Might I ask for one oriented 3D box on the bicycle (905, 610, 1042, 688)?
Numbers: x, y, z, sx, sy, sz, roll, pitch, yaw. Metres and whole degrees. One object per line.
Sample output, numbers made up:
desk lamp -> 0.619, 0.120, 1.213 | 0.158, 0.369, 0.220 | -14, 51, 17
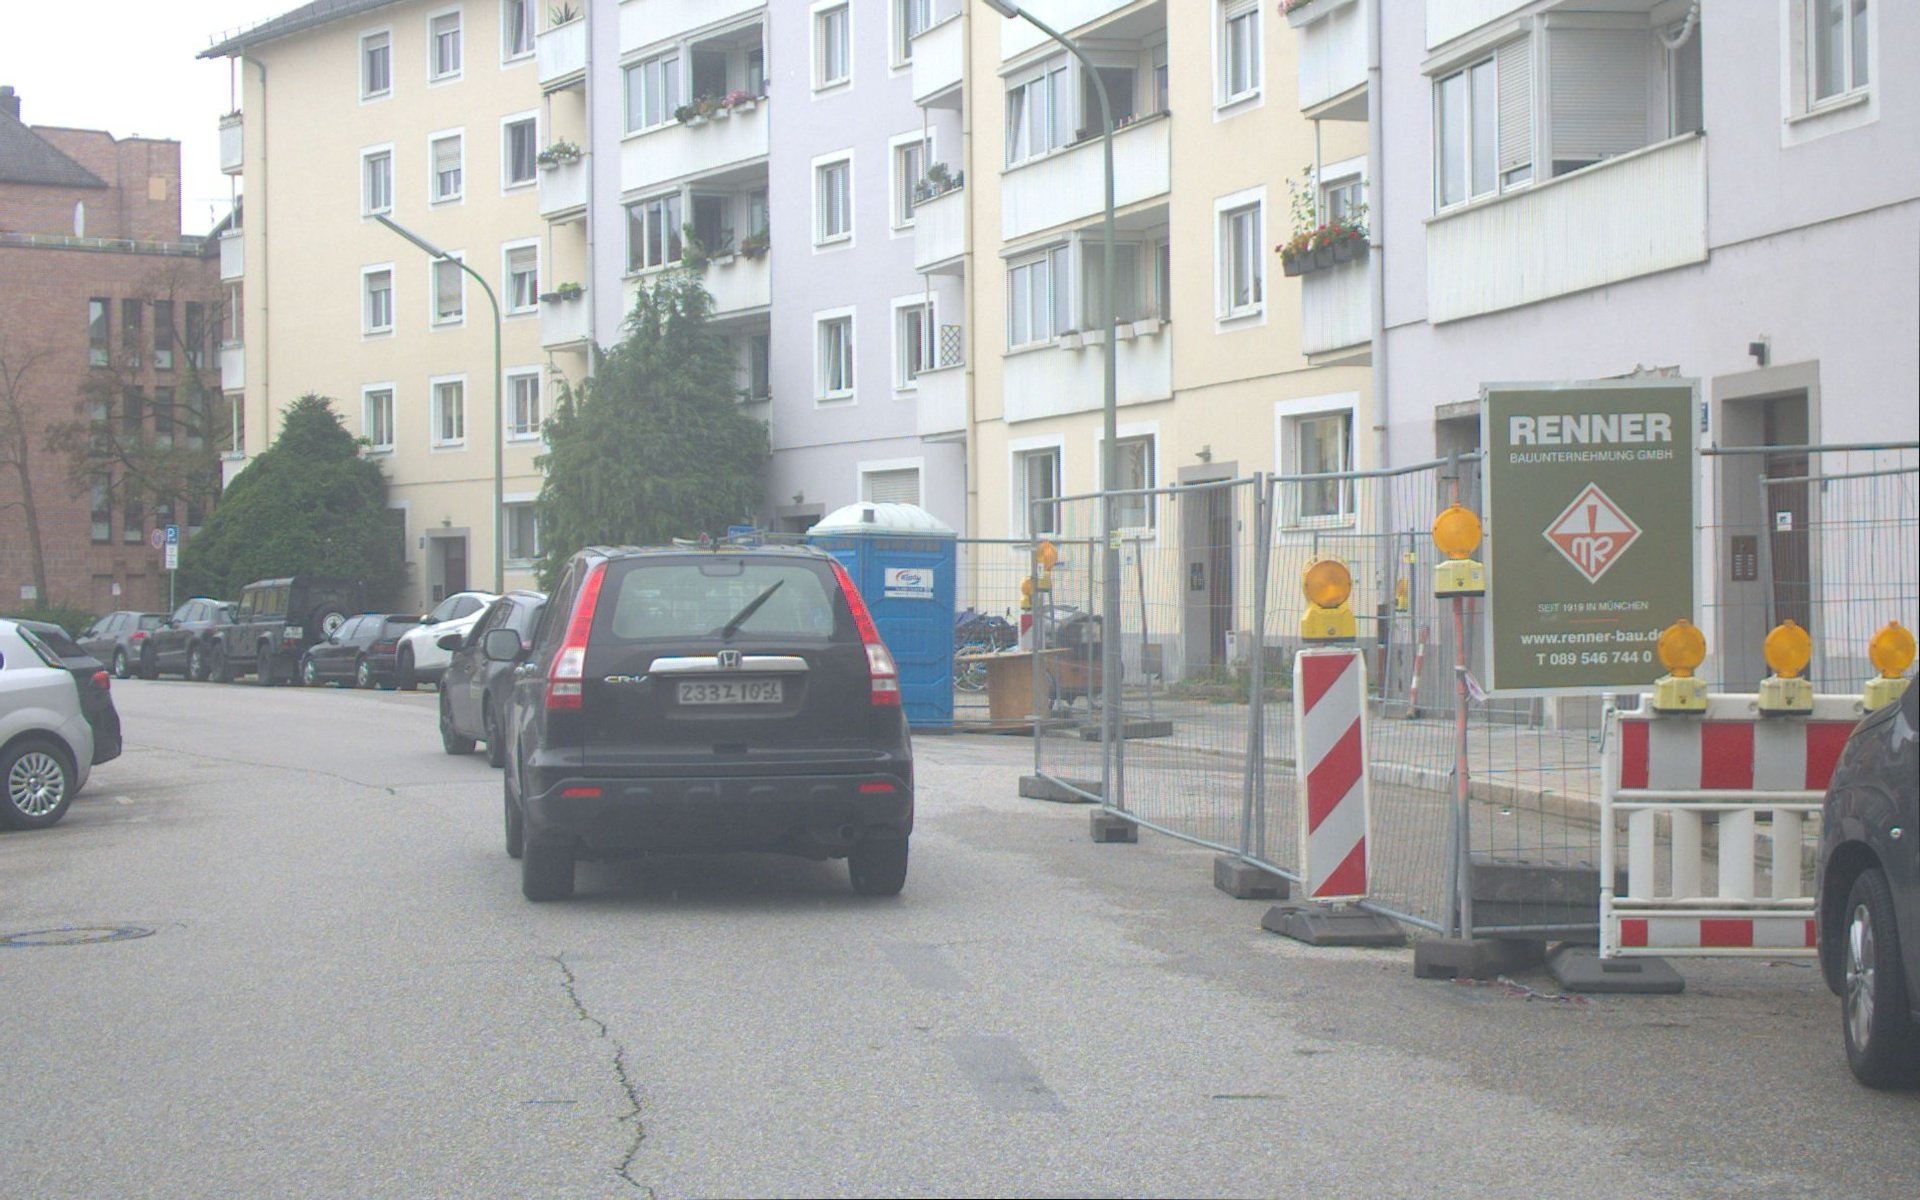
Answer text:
bicycle -> 0.192, 0.686, 48.675 | 1.865, 1.087, 0.566 | 0, 0, -17

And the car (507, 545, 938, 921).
car -> -1.294, 0.572, 17.139 | 1.890, 1.642, 3.992 | 0, 0, -7

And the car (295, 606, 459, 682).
car -> -10.146, 0.743, 59.644 | 1.697, 1.232, 3.602 | 0, 1, -29

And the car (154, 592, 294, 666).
car -> -14.496, 0.551, 67.598 | 1.697, 1.384, 3.602 | 0, 1, -29

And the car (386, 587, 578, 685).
car -> -7.748, 0.550, 55.451 | 1.724, 1.478, 4.000 | 0, 1, -29

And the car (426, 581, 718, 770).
car -> -3.367, 0.583, 29.206 | 1.678, 1.476, 4.087 | 0, 0, -18

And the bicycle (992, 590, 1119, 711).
bicycle -> 1.115, 0.580, 40.869 | 0.968, 1.384, 2.564 | 0, 0, -11

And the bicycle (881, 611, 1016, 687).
bicycle -> -0.167, 0.711, 50.312 | 1.865, 1.087, 0.646 | 0, 0, -17

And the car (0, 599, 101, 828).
car -> -7.853, 0.877, 22.280 | 1.683, 1.476, 4.076 | -5, -1, 44

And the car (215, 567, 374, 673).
car -> -12.350, 0.344, 63.649 | 1.724, 1.871, 4.000 | 0, 1, -29

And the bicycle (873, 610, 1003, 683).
bicycle -> -0.339, 0.701, 52.359 | 1.865, 1.087, 0.646 | 0, 0, -17

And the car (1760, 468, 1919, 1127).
car -> 3.567, 0.558, 8.768 | 1.777, 1.800, 4.276 | 1, 0, -4

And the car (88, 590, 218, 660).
car -> -16.786, 0.502, 71.403 | 1.697, 1.384, 3.602 | 0, 1, -29
